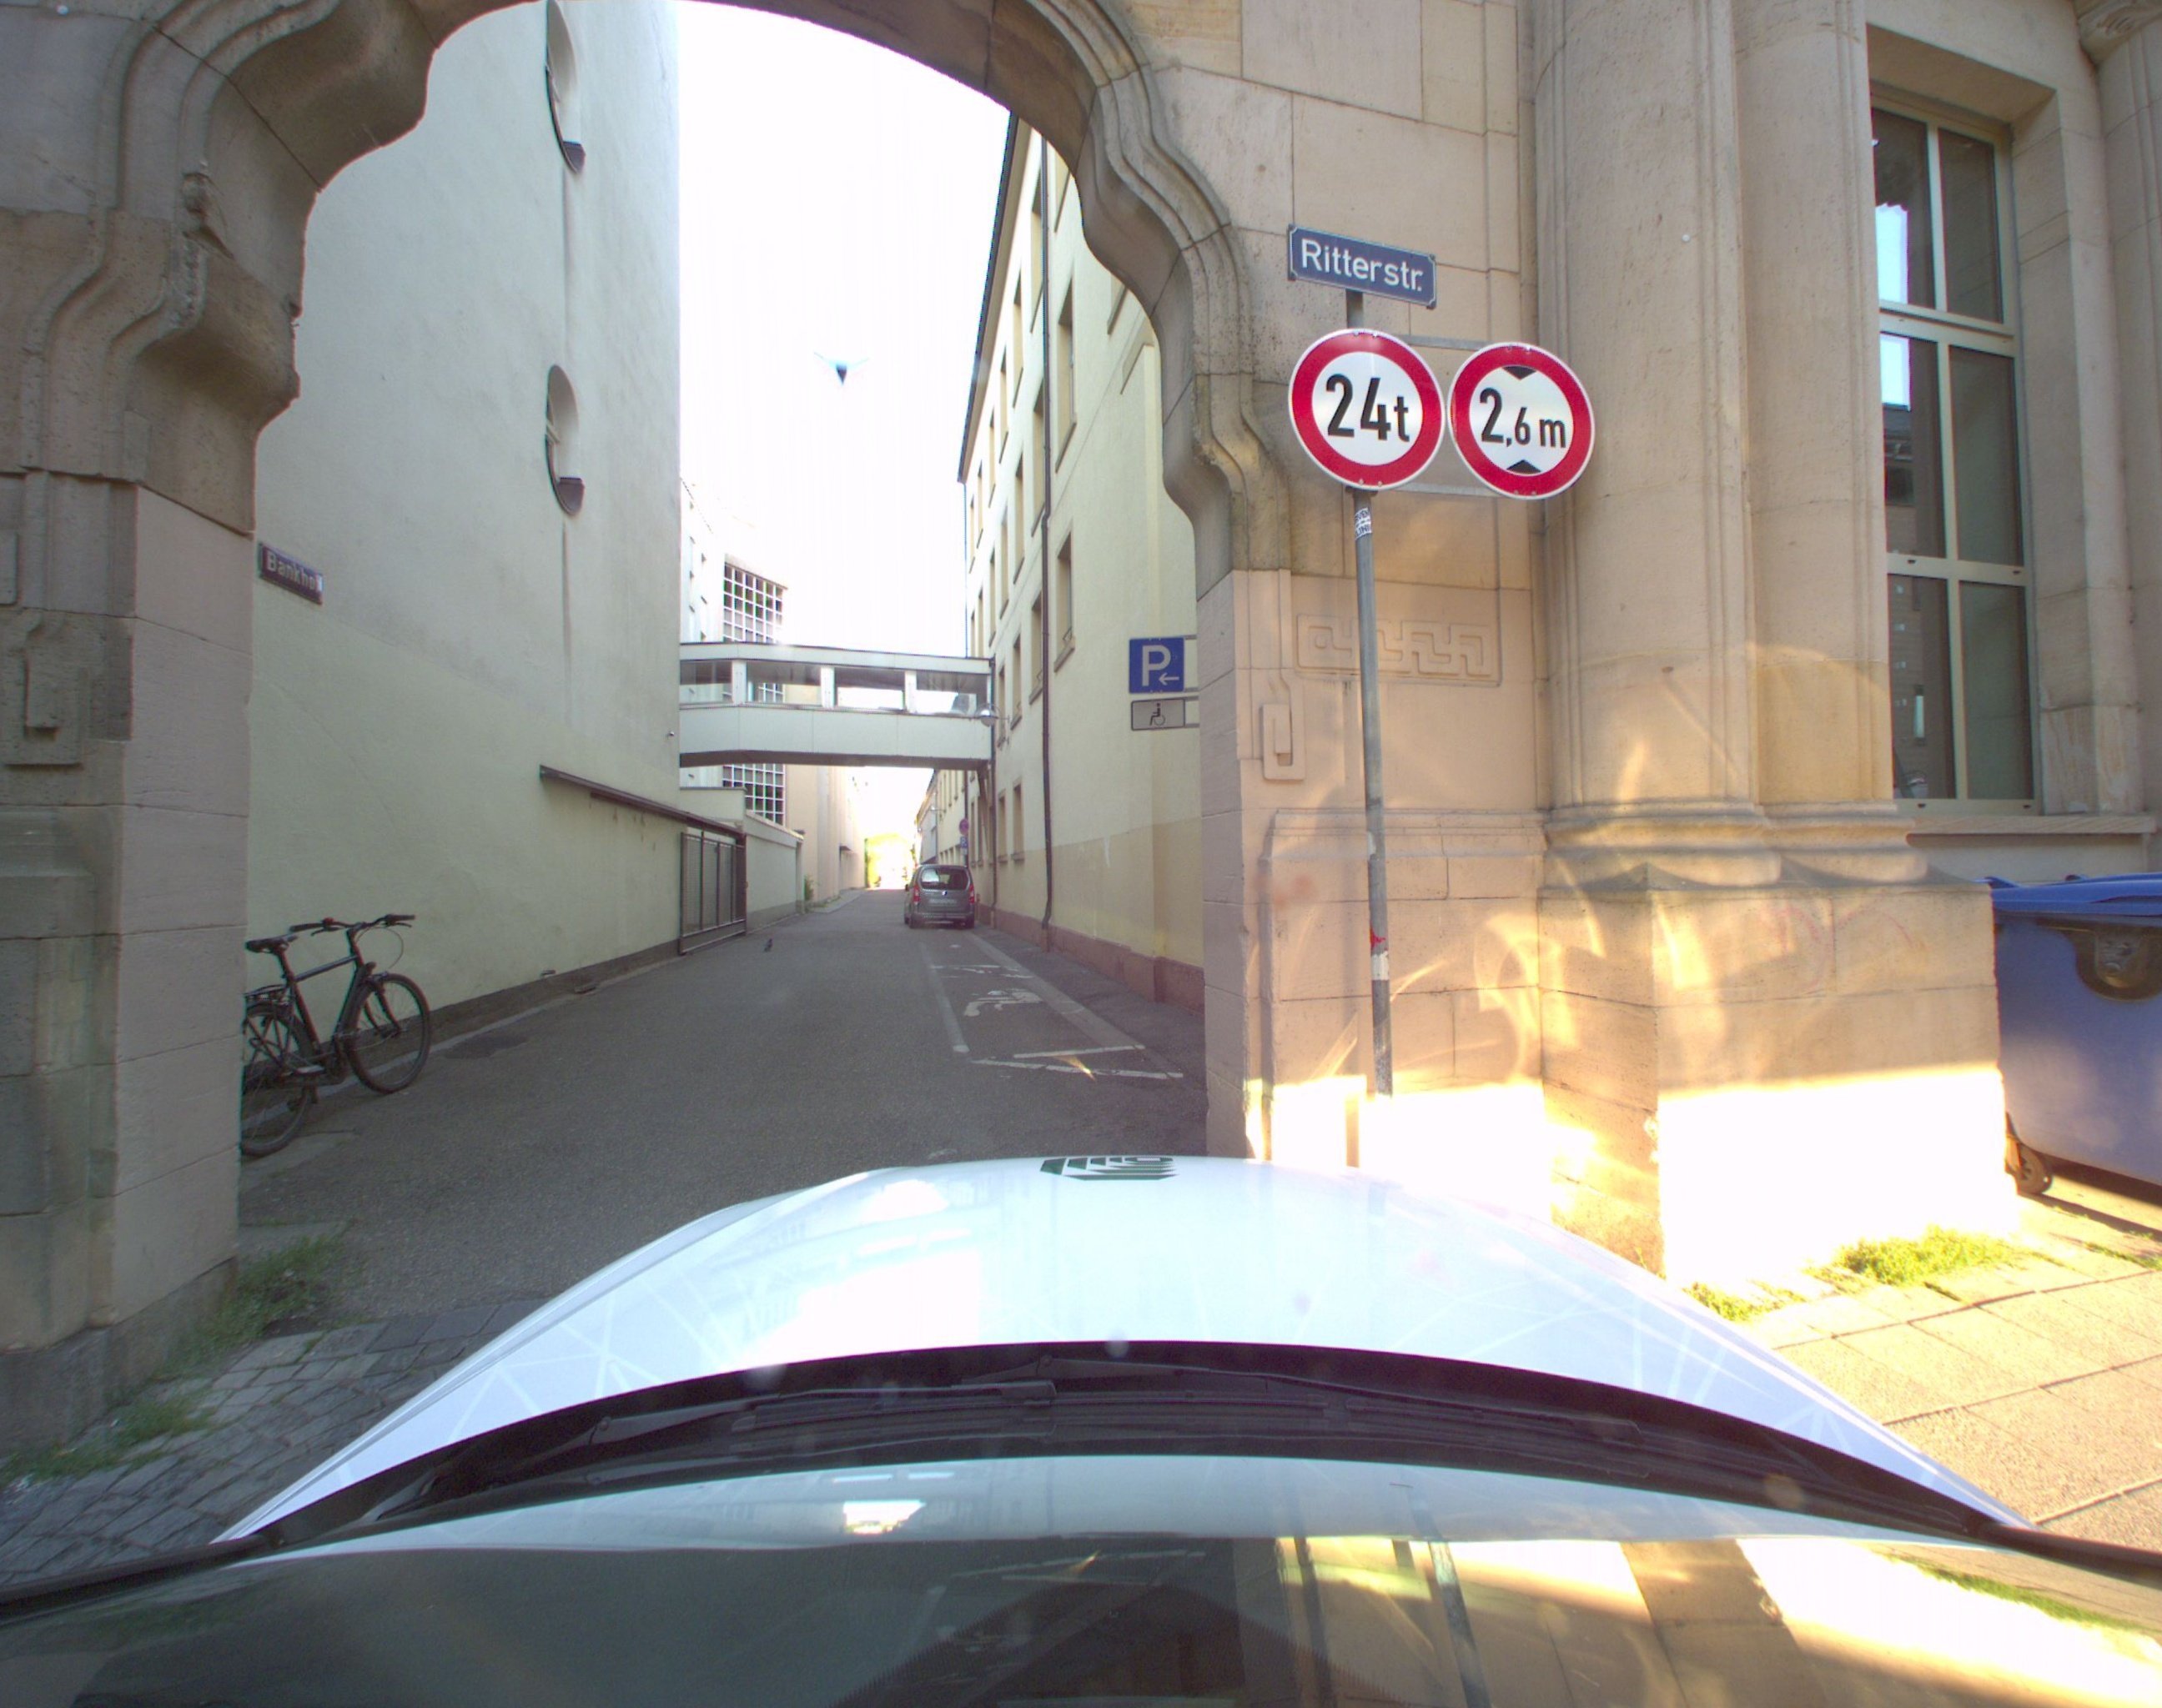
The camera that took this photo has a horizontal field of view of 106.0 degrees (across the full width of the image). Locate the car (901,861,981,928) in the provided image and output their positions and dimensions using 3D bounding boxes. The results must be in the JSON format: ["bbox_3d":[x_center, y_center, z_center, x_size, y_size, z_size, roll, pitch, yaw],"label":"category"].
[{"bbox_3d":[-4.237,1.146,24.128,1.859,1.756,4.140,3,-2,-16],"label":"car"}]

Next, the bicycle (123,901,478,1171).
[{"bbox_3d":[-4.121,0.855,4.508,0.595,1.079,1.748,0,0,-13],"label":"bicycle"}]

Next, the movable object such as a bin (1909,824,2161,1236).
[{"bbox_3d":[4.415,0.619,3.247,1.183,1.474,1.074,-1,1,-9],"label":"movable object such as a bin"}]
